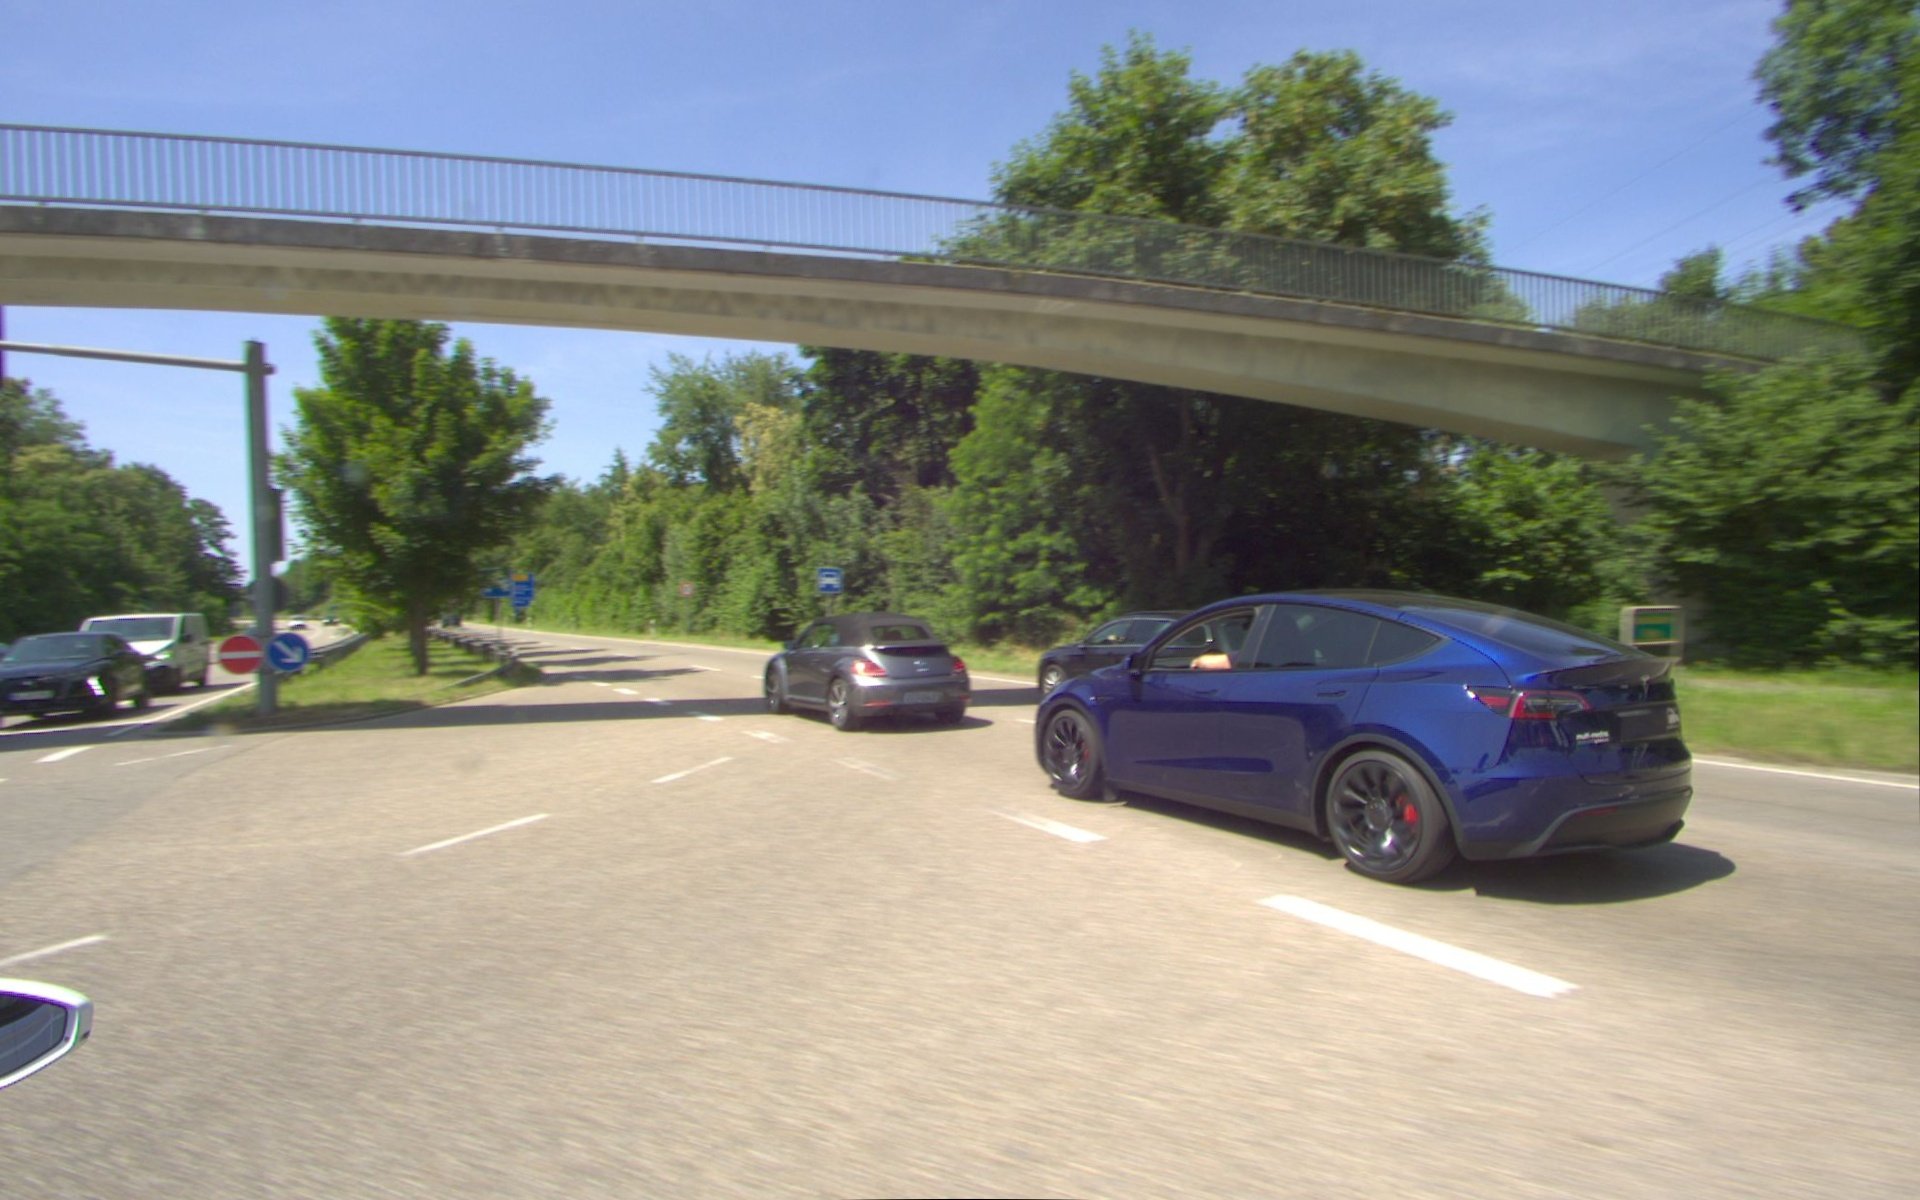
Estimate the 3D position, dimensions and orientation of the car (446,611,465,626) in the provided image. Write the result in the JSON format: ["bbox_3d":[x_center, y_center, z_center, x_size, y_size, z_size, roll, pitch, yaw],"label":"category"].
[{"bbox_3d":[-62.957,2.312,124.917,2.017,1.721,5.065,-1,0,-26],"label":"car"}]

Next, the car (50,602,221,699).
[{"bbox_3d":[-20.043,1.146,24.646,2.182,2.019,5.462,-3,0,-29],"label":"car"}]

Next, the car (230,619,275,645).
[{"bbox_3d":[-48.105,2.142,68.147,1.985,1.622,4.036,-3,0,-29],"label":"car"}]

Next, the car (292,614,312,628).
[{"bbox_3d":[-86.552,2.788,131.745,1.973,1.772,3.978,1,-2,-32],"label":"car"}]

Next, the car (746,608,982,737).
[{"bbox_3d":[-1.490,0.893,14.006,1.878,1.497,3.920,-1,0,-29],"label":"car"}]

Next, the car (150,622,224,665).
[{"bbox_3d":[-33.242,1.833,43.188,1.840,1.637,4.036,-3,0,-29],"label":"car"}]

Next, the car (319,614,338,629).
[{"bbox_3d":[-91.485,3.137,145.063,1.977,2.039,3.970,1,-2,-38],"label":"car"}]

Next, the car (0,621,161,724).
[{"bbox_3d":[-15.924,1.210,17.785,1.970,1.543,4.008,-4,1,-29],"label":"car"}]

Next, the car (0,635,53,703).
[{"bbox_3d":[-23.466,1.659,23.728,1.985,1.480,4.036,-3,0,-29],"label":"car"}]

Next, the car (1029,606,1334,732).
[{"bbox_3d":[2.951,0.870,14.339,1.879,1.497,4.359,1,-1,-29],"label":"car"}]

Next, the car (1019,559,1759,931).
[{"bbox_3d":[2.417,0.697,6.917,1.879,1.666,4.497,1,-1,-30],"label":"car"}]

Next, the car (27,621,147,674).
[{"bbox_3d":[-27.508,1.443,31.707,1.985,1.480,4.036,-1,0,-29],"label":"car"}]
